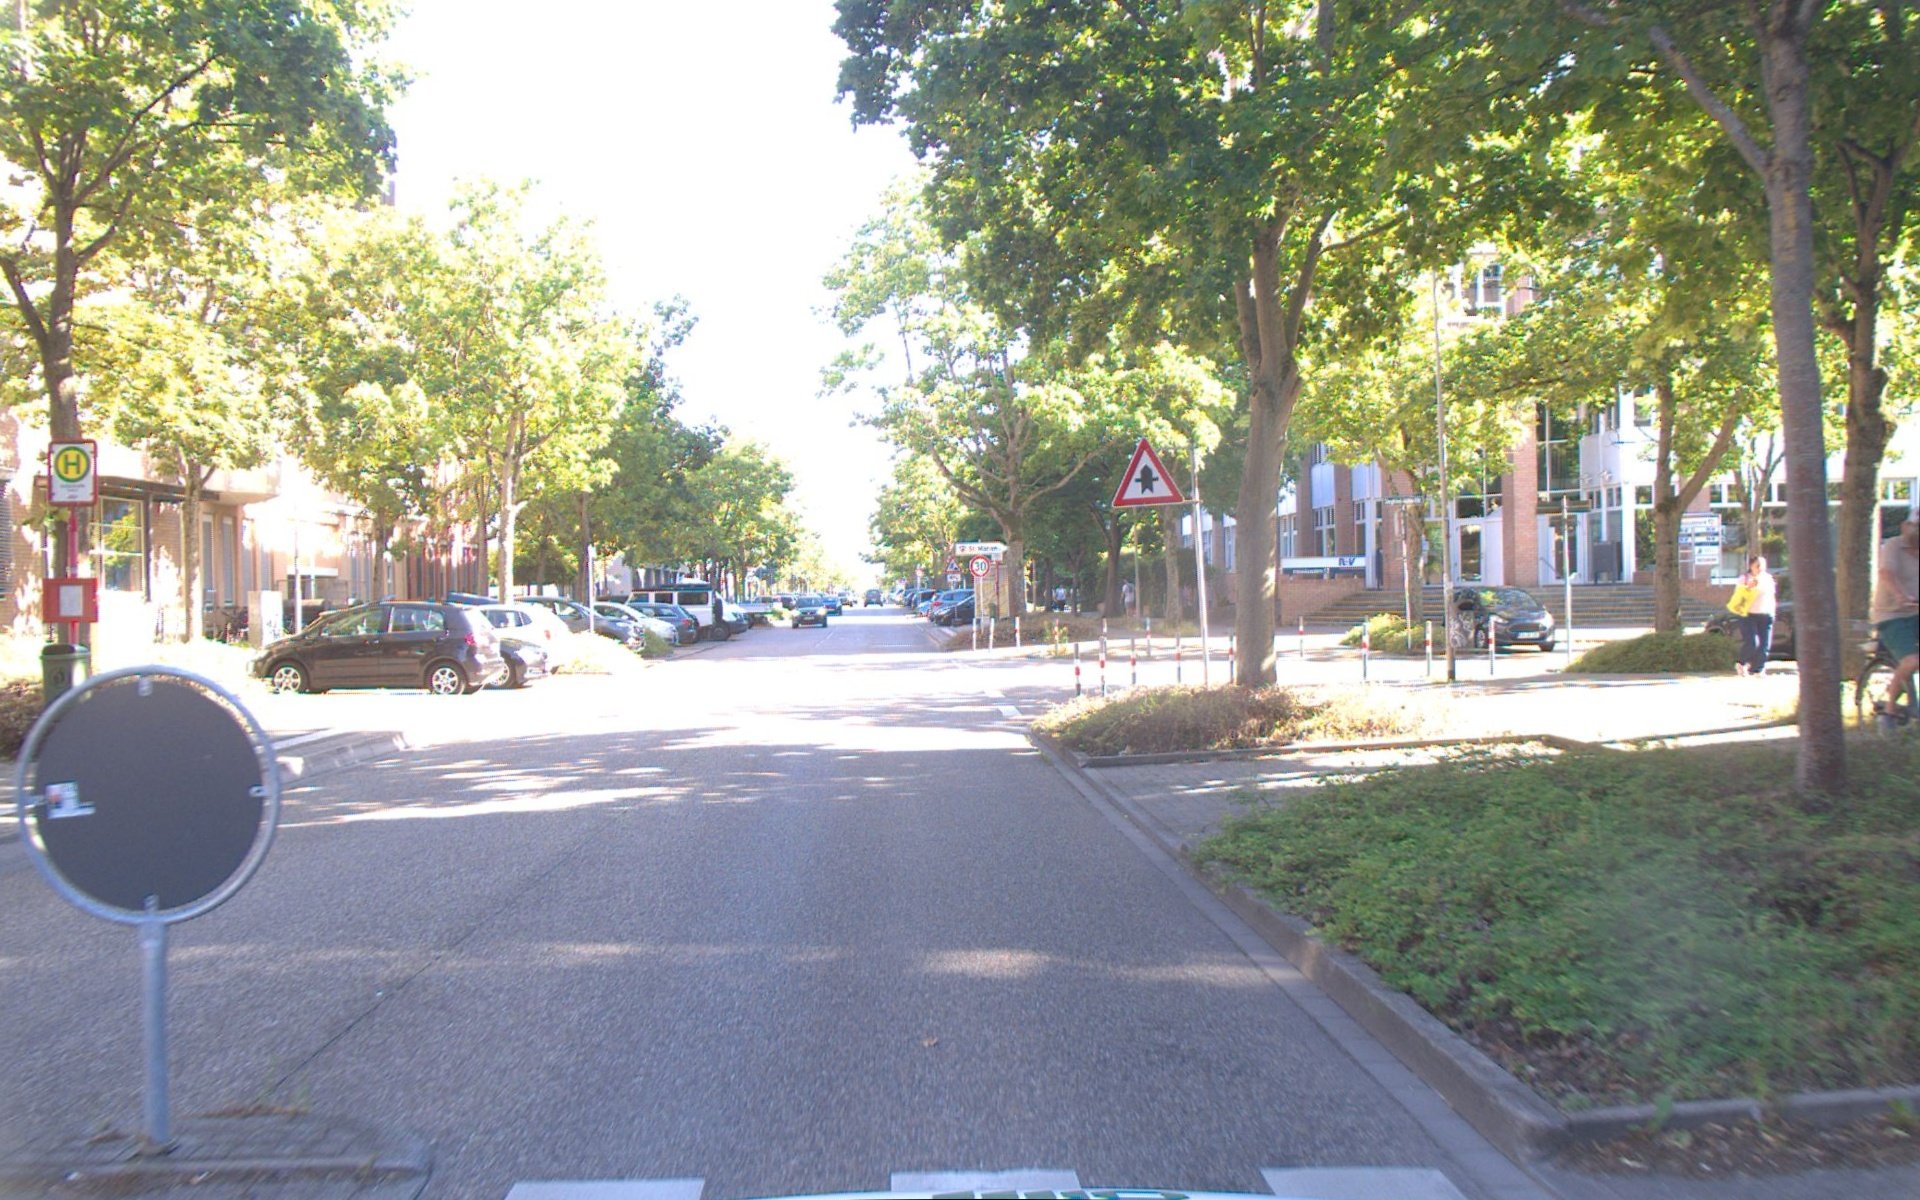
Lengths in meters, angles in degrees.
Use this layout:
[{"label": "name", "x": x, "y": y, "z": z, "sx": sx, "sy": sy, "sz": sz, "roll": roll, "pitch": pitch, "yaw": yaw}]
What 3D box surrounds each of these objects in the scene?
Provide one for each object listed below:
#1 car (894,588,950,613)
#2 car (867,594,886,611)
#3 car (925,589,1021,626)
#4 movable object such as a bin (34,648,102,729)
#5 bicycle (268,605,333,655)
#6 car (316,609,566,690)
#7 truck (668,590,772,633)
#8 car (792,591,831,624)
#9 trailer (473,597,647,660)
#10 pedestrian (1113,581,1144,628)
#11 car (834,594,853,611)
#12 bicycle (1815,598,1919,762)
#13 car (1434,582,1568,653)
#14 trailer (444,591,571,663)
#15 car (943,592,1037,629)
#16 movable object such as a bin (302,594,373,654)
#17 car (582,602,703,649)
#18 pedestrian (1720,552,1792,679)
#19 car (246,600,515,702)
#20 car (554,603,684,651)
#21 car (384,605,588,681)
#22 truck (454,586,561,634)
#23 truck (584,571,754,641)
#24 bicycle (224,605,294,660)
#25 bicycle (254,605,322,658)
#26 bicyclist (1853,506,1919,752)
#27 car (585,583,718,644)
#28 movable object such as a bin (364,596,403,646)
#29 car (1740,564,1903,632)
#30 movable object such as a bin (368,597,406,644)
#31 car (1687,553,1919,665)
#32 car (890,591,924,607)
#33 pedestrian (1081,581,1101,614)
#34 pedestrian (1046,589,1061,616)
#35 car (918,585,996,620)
[{"label": "car", "x": -2.928, "y": 0.046, "z": 126.798, "sx": 4.185, "sy": 1.662, "sz": 1.856, "roll": -3, "pitch": 0, "yaw": -6}, {"label": "car", "x": -8.688, "y": 0.267, "z": 171.593, "sx": 1.895, "sy": 1.625, "sz": 4.363, "roll": -2, "pitch": 0, "yaw": -3}, {"label": "car", "x": 0.601, "y": 0.351, "z": 78.301, "sx": 4.272, "sy": 1.625, "sz": 1.935, "roll": -2, "pitch": 0, "yaw": -10}, {"label": "movable object such as a bin", "x": -8.440, "y": 0.829, "z": 15.658, "sx": 0.433, "sy": 0.744, "sz": 0.408, "roll": 0, "pitch": 0, "yaw": -3}, {"label": "bicycle", "x": -19.169, "y": 0.872, "z": 48.080, "sx": 1.703, "sy": 1.433, "sz": 0.609, "roll": 0, "pitch": 0, "yaw": -26}, {"label": "car", "x": -9.535, "y": 0.898, "z": 30.612, "sx": 4.069, "sy": 1.427, "sz": 1.799, "roll": 0, "pitch": 0, "yaw": -4}, {"label": "truck", "x": -11.966, "y": 0.550, "z": 82.741, "sx": 4.885, "sy": 1.993, "sz": 2.137, "roll": -2, "pitch": 0, "yaw": -3}, {"label": "car", "x": -7.392, "y": 0.369, "z": 82.500, "sx": 1.744, "sy": 1.538, "sz": 3.998, "roll": -1, "pitch": 0, "yaw": -3}, {"label": "trailer", "x": -10.351, "y": 0.726, "z": 43.073, "sx": 4.179, "sy": 1.599, "sz": 1.853, "roll": 0, "pitch": 0, "yaw": -7}, {"label": "pedestrian", "x": 6.547, "y": 0.156, "z": 64.308, "sx": 0.903, "sy": 1.740, "sz": 0.695, "roll": -5, "pitch": 1, "yaw": -16}, {"label": "car", "x": -12.212, "y": 0.278, "z": 173.737, "sx": 1.855, "sy": 1.713, "sz": 4.348, "roll": -2, "pitch": 0, "yaw": -5}, {"label": "bicycle", "x": 6.755, "y": 0.546, "z": 11.523, "sx": 0.523, "sy": 1.097, "sz": 1.919, "roll": -2, "pitch": 0, "yaw": -2}, {"label": "car", "x": 12.428, "y": 0.366, "z": 38.241, "sx": 1.619, "sy": 1.488, "sz": 3.915, "roll": -1, "pitch": 1, "yaw": -3}, {"label": "trailer", "x": -11.094, "y": 0.649, "z": 40.676, "sx": 2.670, "sy": 1.717, "sz": 1.711, "roll": 0, "pitch": 0, "yaw": -3}, {"label": "car", "x": 1.279, "y": 0.429, "z": 70.996, "sx": 3.858, "sy": 1.464, "sz": 1.772, "roll": -2, "pitch": 0, "yaw": -5}, {"label": "movable object such as a bin", "x": -19.512, "y": 0.737, "z": 51.880, "sx": 1.566, "sy": 1.828, "sz": 1.664, "roll": -2, "pitch": 0, "yaw": -1}, {"label": "car", "x": -10.604, "y": 0.833, "z": 55.398, "sx": 3.702, "sy": 1.518, "sz": 1.832, "roll": 0, "pitch": 0, "yaw": -2}, {"label": "pedestrian", "x": 10.363, "y": 0.196, "z": 21.547, "sx": 0.528, "sy": 1.610, "sz": 0.646, "roll": -1, "pitch": 0, "yaw": -12}, {"label": "car", "x": -9.675, "y": 0.836, "z": 27.844, "sx": 3.908, "sy": 1.598, "sz": 1.727, "roll": 1, "pitch": 0, "yaw": -4}, {"label": "car", "x": -10.822, "y": 0.842, "z": 52.637, "sx": 3.756, "sy": 1.486, "sz": 1.732, "roll": 0, "pitch": 0, "yaw": 0}, {"label": "car", "x": -9.601, "y": 0.850, "z": 33.703, "sx": 3.680, "sy": 1.477, "sz": 1.753, "roll": 0, "pitch": 0, "yaw": -4}, {"label": "truck", "x": -28.296, "y": 0.611, "z": 103.540, "sx": 5.985, "sy": 2.752, "sz": 2.575, "roll": -2, "pitch": 0, "yaw": -5}, {"label": "truck", "x": -11.107, "y": 0.231, "z": 63.469, "sx": 6.107, "sy": 2.464, "sz": 2.186, "roll": -2, "pitch": 0, "yaw": -3}, {"label": "bicycle", "x": -18.825, "y": 0.860, "z": 44.398, "sx": 1.703, "sy": 1.433, "sz": 0.609, "roll": 0, "pitch": 0, "yaw": -26}, {"label": "bicycle", "x": -18.461, "y": 0.866, "z": 45.422, "sx": 1.703, "sy": 1.433, "sz": 0.609, "roll": 0, "pitch": 0, "yaw": -26}, {"label": "bicyclist", "x": 6.748, "y": 0.188, "z": 11.539, "sx": 0.526, "sy": 1.665, "sz": 0.822, "roll": -2, "pitch": 0, "yaw": -2}, {"label": "car", "x": -10.772, "y": 0.471, "z": 58.021, "sx": 4.394, "sy": 2.087, "sz": 1.998, "roll": 0, "pitch": 0, "yaw": -5}, {"label": "movable object such as a bin", "x": -19.791, "y": 0.707, "z": 56.813, "sx": 1.126, "sy": 1.648, "sz": 1.436, "roll": -2, "pitch": 0, "yaw": -15}, {"label": "car", "x": 20.436, "y": -0.047, "z": 39.449, "sx": 1.654, "sy": 1.486, "sz": 4.272, "roll": -2, "pitch": 0, "yaw": 0}, {"label": "movable object such as a bin", "x": -20.110, "y": 0.722, "z": 58.085, "sx": 1.126, "sy": 1.590, "sz": 1.239, "roll": -2, "pitch": 0, "yaw": -15}, {"label": "car", "x": 13.474, "y": 0.198, "z": 26.140, "sx": 1.704, "sy": 1.593, "sz": 4.360, "roll": -1, "pitch": -2, "yaw": -5}, {"label": "car", "x": -6.367, "y": -0.079, "z": 198.197, "sx": 3.912, "sy": 1.823, "sz": 1.996, "roll": -2, "pitch": 0, "yaw": -8}, {"label": "pedestrian", "x": 7.198, "y": -0.146, "z": 90.895, "sx": 0.684, "sy": 1.740, "sz": 0.917, "roll": -5, "pitch": 1, "yaw": -14}, {"label": "pedestrian", "x": 5.235, "y": 0.153, "z": 92.431, "sx": 0.687, "sy": 1.483, "sz": 0.715, "roll": -2, "pitch": 0, "yaw": -6}, {"label": "car", "x": -0.196, "y": 0.137, "z": 96.981, "sx": 4.319, "sy": 1.646, "sz": 1.910, "roll": -4, "pitch": 0, "yaw": -4}]
